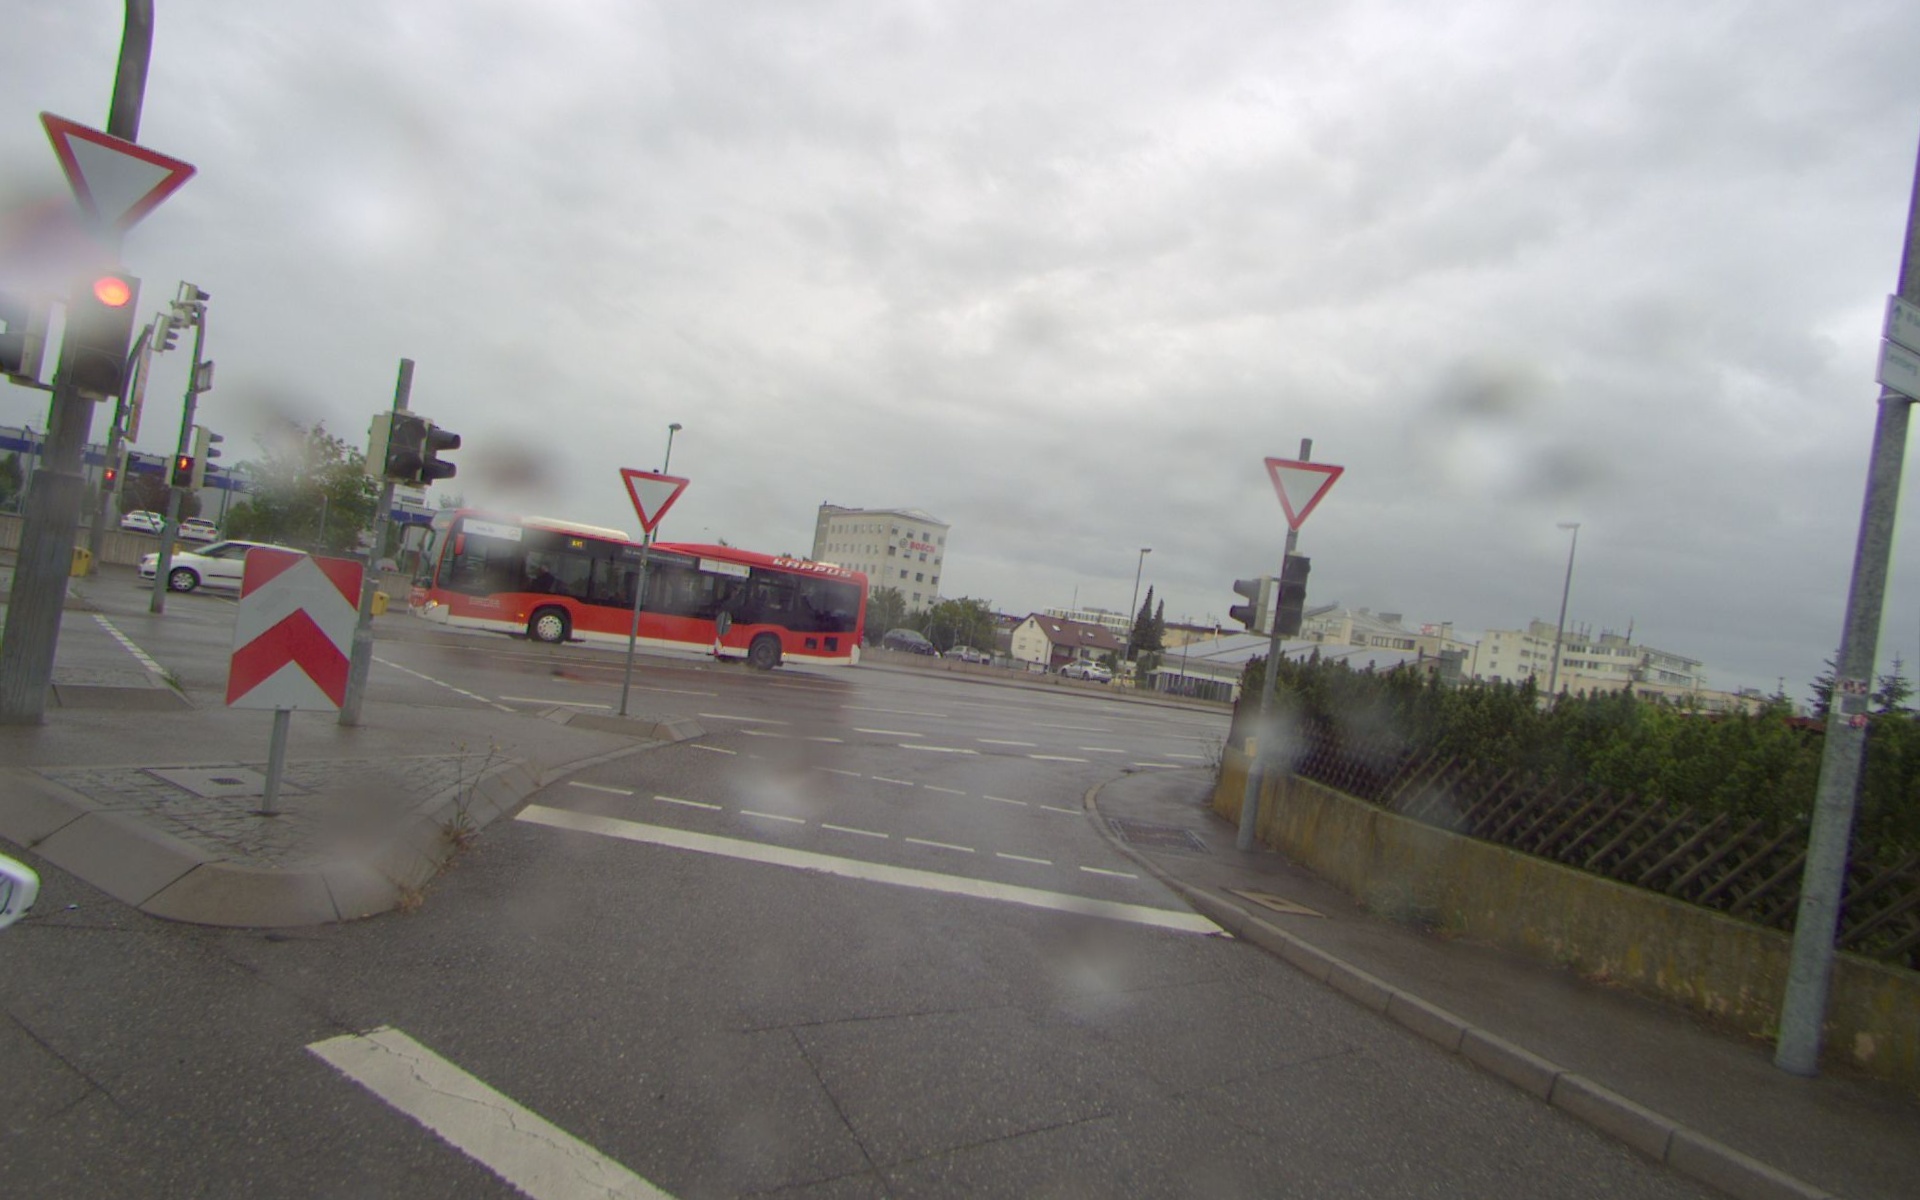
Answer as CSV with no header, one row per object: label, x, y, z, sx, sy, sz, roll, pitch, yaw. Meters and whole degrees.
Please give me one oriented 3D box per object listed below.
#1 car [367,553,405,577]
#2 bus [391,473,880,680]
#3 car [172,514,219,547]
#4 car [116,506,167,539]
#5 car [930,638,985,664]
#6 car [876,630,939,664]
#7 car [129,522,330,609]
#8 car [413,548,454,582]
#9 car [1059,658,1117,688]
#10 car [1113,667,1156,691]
car,-41.826,-2.533,73.371,1.750,1.495,3.629,9,-2,-23
bus,-8.193,-0.315,27.527,12.241,3.357,3.040,12,-3,-40
car,-44.708,-4.073,58.799,1.986,1.495,3.958,10,-2,-38
car,-46.433,-4.401,57.137,1.985,1.495,3.959,10,-2,-38
car,-0.204,4.178,82.851,3.951,1.494,1.989,9,-2,-24
car,-3.286,2.904,62.591,1.983,1.495,3.964,10,-2,-34
car,-19.273,-0.886,26.621,3.978,1.614,1.933,10,-3,-43
car,-32.368,-2.131,61.889,1.700,1.734,3.629,9,-2,-23
car,8.946,5.085,70.649,1.979,1.494,3.971,9,-2,-29
car,17.482,7.879,100.629,3.760,1.771,1.887,9,-2,-28
